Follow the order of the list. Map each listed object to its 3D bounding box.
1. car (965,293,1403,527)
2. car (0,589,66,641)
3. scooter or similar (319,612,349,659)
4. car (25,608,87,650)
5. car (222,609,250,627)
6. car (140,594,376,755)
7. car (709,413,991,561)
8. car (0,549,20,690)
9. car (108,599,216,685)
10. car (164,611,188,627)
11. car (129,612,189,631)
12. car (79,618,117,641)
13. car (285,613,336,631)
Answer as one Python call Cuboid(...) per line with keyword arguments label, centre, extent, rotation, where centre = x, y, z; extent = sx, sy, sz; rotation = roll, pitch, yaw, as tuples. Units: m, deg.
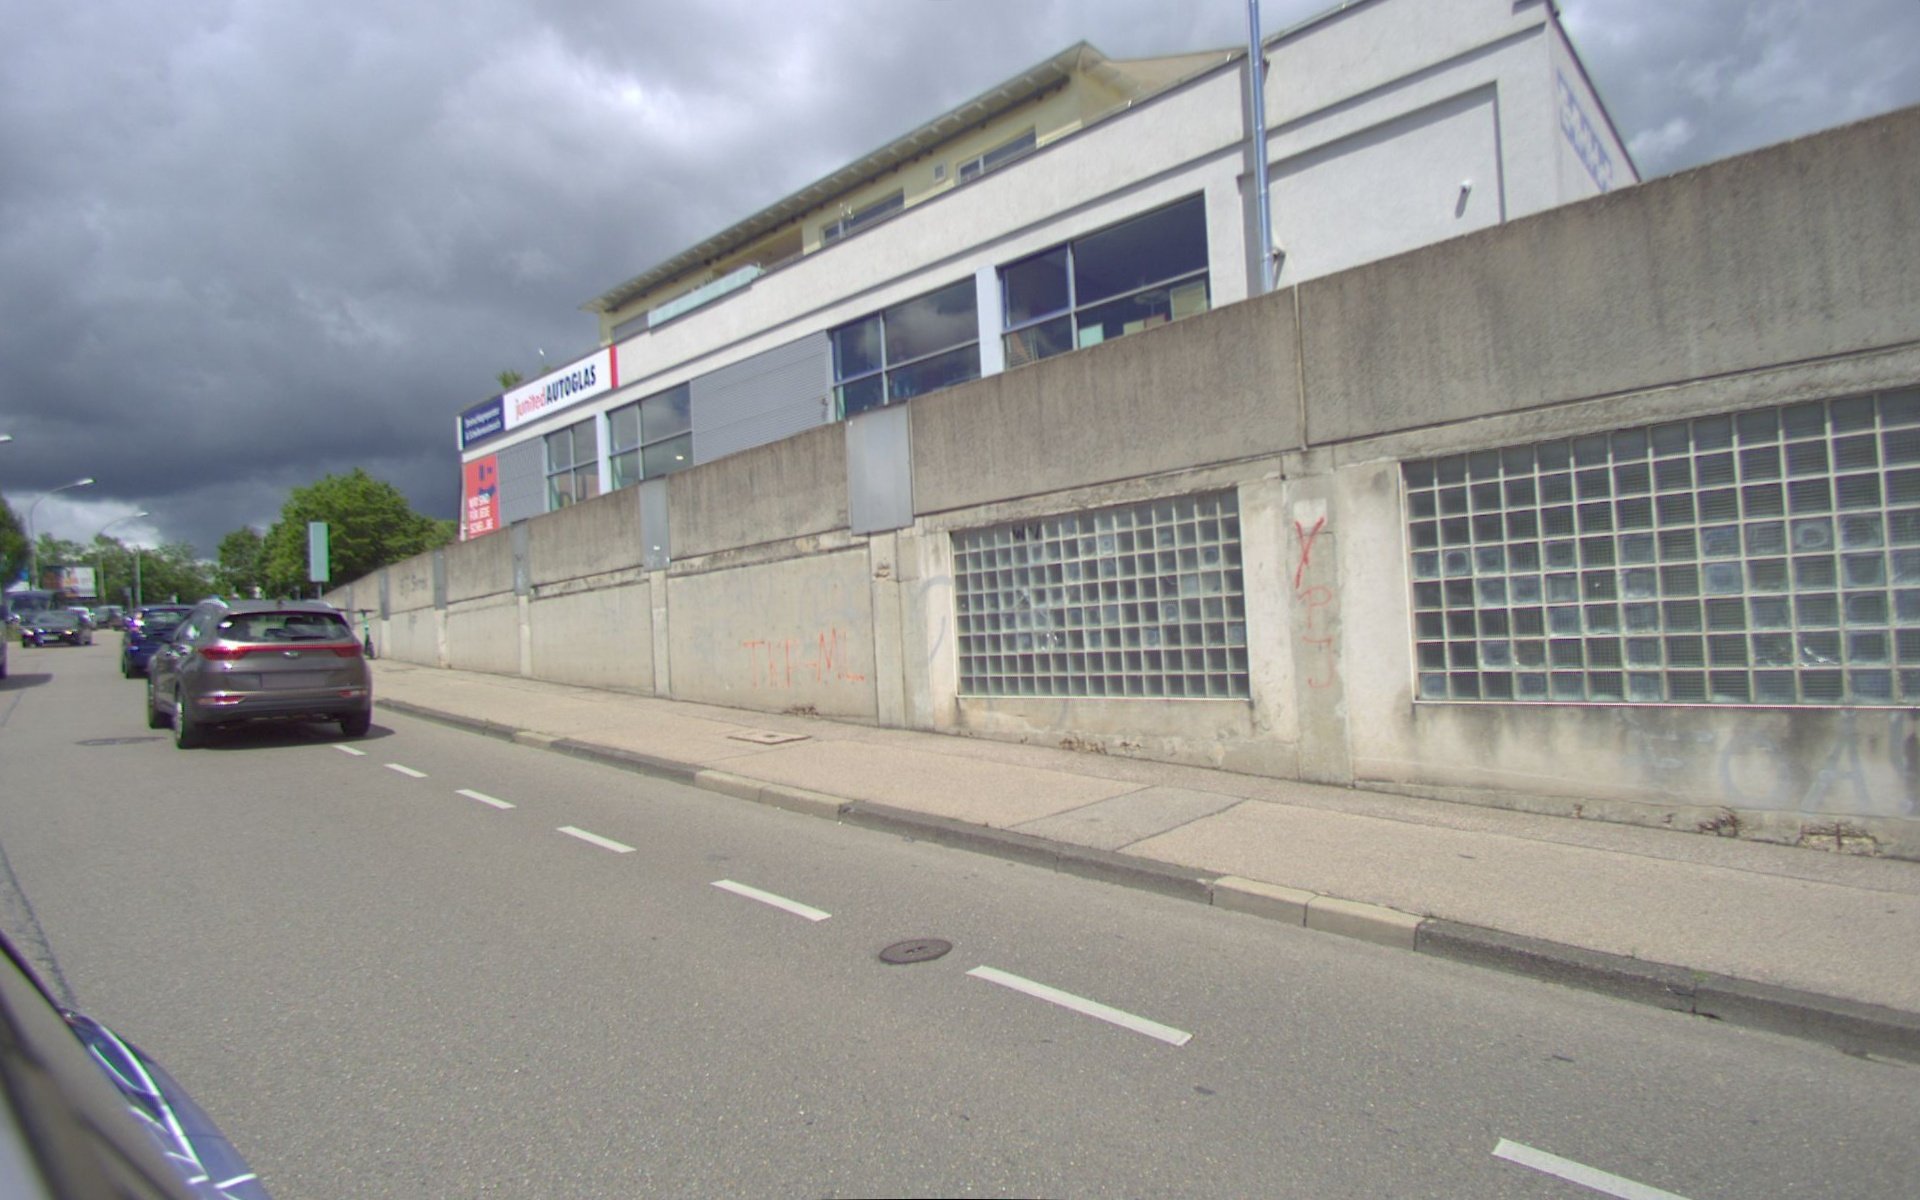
Cuboid(label="car", centre=(2.161, -1.736, 10.515), extent=(4.105, 1.649, 1.786), rotation=(-1, 0, 44))
Cuboid(label="car", centre=(-49.551, 0.768, 53.949), extent=(2.027, 2.613, 5.750), rotation=(-1, 0, -34))
Cuboid(label="scooter or similar", centre=(-17.834, 1.001, 28.834), extent=(0.550, 1.285, 1.308), rotation=(-1, 0, -39))
Cuboid(label="car", centre=(-35.495, 1.110, 39.792), extent=(1.561, 1.517, 3.965), rotation=(-1, 0, -38))
Cuboid(label="car", centre=(-66.358, 1.634, 92.784), extent=(1.579, 1.502, 3.693), rotation=(-1, 0, -29))
Cuboid(label="car", centre=(-8.710, 0.788, 12.411), extent=(1.778, 1.634, 4.096), rotation=(0, -1, -44))
Cuboid(label="car", centre=(-1.680, -1.463, 14.481), extent=(4.105, 1.649, 1.786), rotation=(-1, 0, 44))
Cuboid(label="car", centre=(-20.073, 0.377, 19.864), extent=(2.051, 2.610, 6.072), rotation=(-1, 0, -40))
Cuboid(label="car", centre=(-18.664, 0.923, 23.621), extent=(1.607, 1.831, 3.783), rotation=(0, -1, -44))
Cuboid(label="car", centre=(-79.673, 1.912, 102.879), extent=(1.620, 1.544, 4.233), rotation=(-1, 0, -35))
Cuboid(label="car", centre=(-91.019, 2.388, 115.054), extent=(1.950, 1.984, 5.090), rotation=(-1, 0, 24))
Cuboid(label="car", centre=(-59.189, 1.979, 69.524), extent=(1.498, 1.466, 3.968), rotation=(-1, 0, -34))
Cuboid(label="car", centre=(-58.837, 1.991, 91.728), extent=(3.794, 1.517, 1.591), rotation=(-1, 0, -31))
